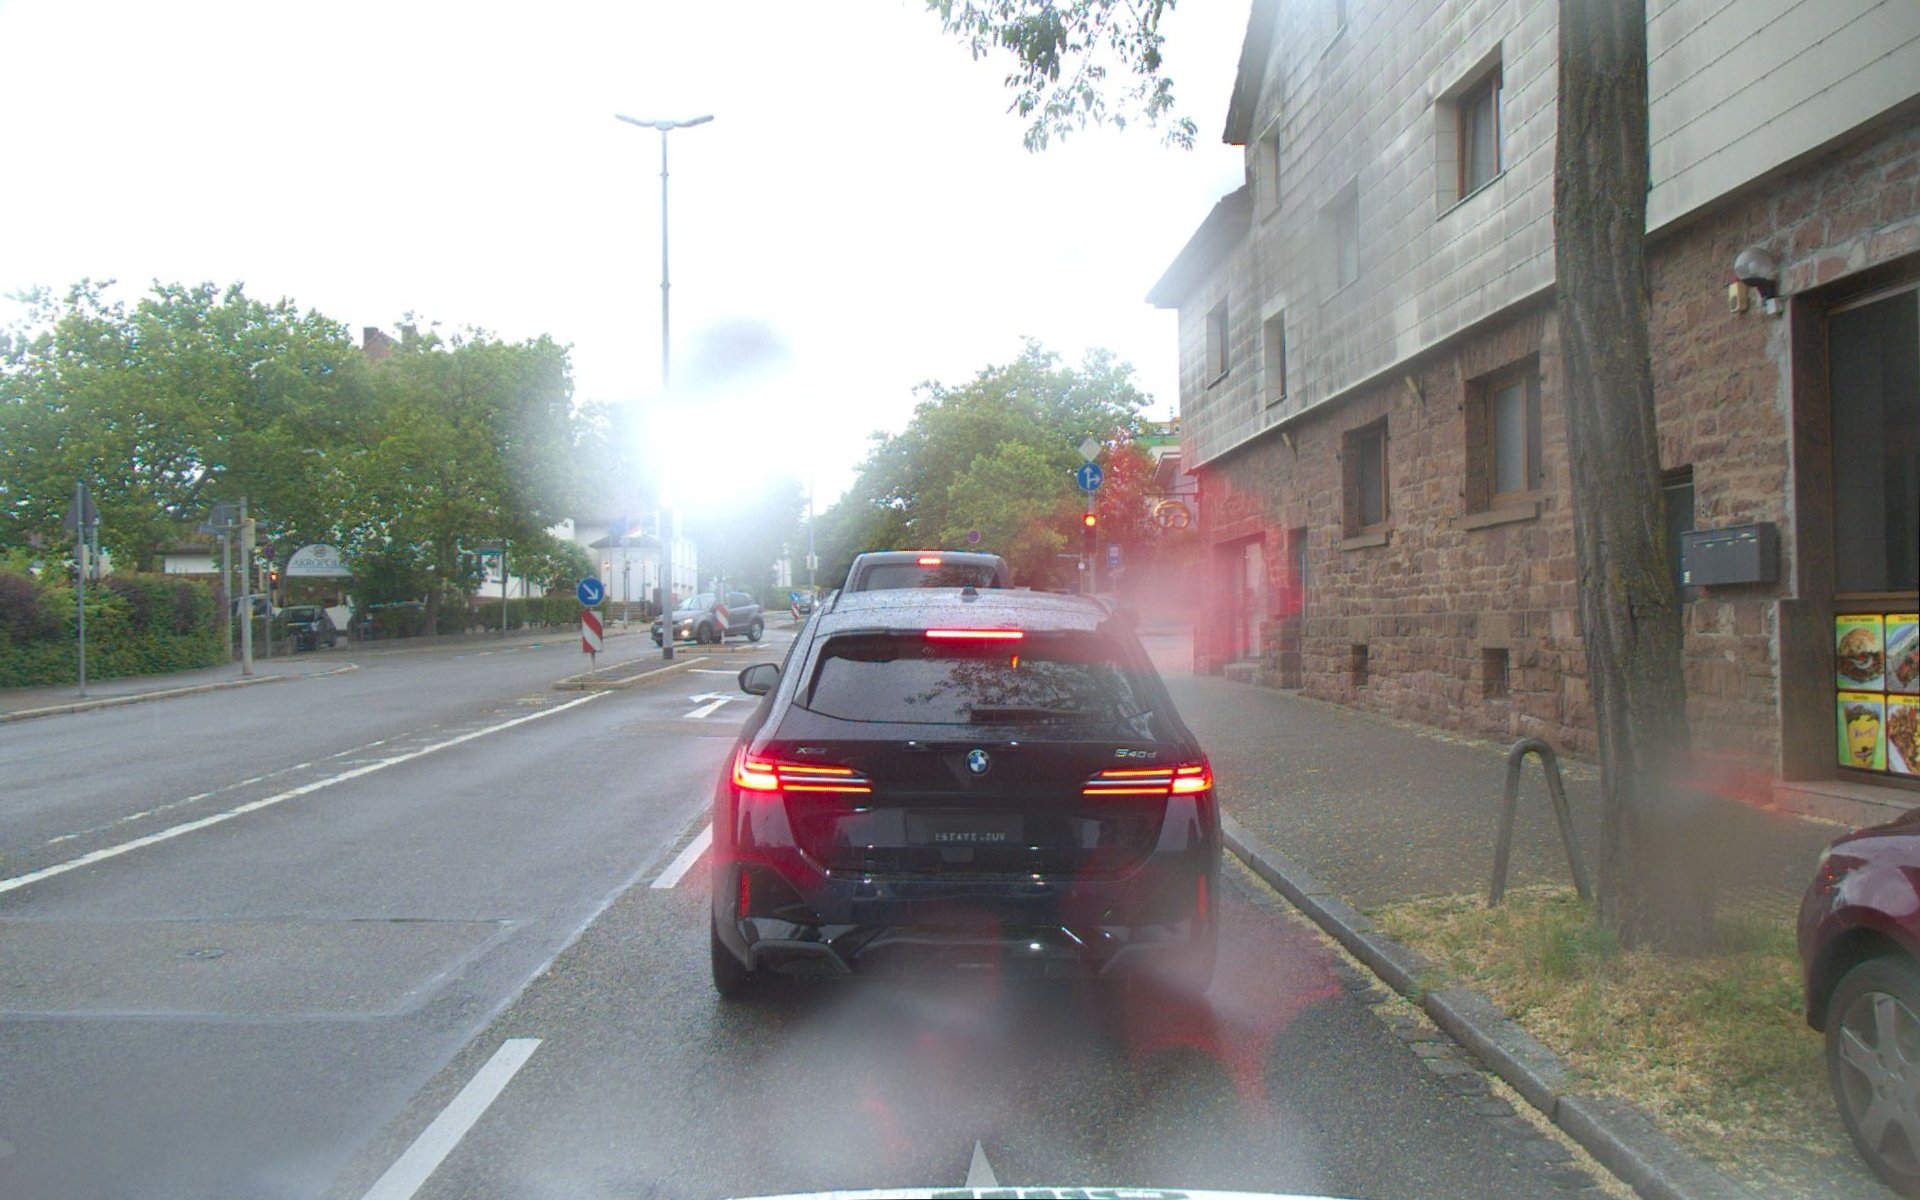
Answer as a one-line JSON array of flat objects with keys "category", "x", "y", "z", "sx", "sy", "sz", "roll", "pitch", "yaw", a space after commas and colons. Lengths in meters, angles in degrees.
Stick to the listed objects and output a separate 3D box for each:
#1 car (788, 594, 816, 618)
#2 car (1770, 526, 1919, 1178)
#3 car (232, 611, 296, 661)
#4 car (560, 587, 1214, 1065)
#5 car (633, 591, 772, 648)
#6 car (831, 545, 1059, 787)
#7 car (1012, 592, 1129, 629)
[{"category": "car", "x": -9.654, "y": 0.383, "z": 101.031, "sx": 1.435, "sy": 1.422, "sz": 3.321, "roll": 0, "pitch": 0, "yaw": -1}, {"category": "car", "x": 3.048, "y": 0.565, "z": 2.601, "sx": 1.552, "sy": 1.516, "sz": 3.625, "roll": -3, "pitch": 1, "yaw": -3}, {"category": "car", "x": -23.814, "y": 1.187, "z": 56.706, "sx": 1.966, "sy": 1.579, "sz": 3.973, "roll": 0, "pitch": 0, "yaw": -22}, {"category": "car", "x": -0.340, "y": 0.703, "z": 7.404, "sx": 2.023, "sy": 1.472, "sz": 4.480, "roll": 1, "pitch": 0, "yaw": -3}, {"category": "car", "x": -7.355, "y": 0.524, "z": 47.624, "sx": 1.956, "sy": 1.536, "sz": 3.948, "roll": 0, "pitch": 1, "yaw": 29}, {"category": "car", "x": -0.210, "y": 0.486, "z": 14.671, "sx": 1.748, "sy": 1.849, "sz": 3.998, "roll": 0, "pitch": 0, "yaw": -3}, {"category": "car", "x": 4.027, "y": 0.361, "z": 60.616, "sx": 3.921, "sy": 1.311, "sz": 1.841, "roll": 0, "pitch": 0, "yaw": -15}]
